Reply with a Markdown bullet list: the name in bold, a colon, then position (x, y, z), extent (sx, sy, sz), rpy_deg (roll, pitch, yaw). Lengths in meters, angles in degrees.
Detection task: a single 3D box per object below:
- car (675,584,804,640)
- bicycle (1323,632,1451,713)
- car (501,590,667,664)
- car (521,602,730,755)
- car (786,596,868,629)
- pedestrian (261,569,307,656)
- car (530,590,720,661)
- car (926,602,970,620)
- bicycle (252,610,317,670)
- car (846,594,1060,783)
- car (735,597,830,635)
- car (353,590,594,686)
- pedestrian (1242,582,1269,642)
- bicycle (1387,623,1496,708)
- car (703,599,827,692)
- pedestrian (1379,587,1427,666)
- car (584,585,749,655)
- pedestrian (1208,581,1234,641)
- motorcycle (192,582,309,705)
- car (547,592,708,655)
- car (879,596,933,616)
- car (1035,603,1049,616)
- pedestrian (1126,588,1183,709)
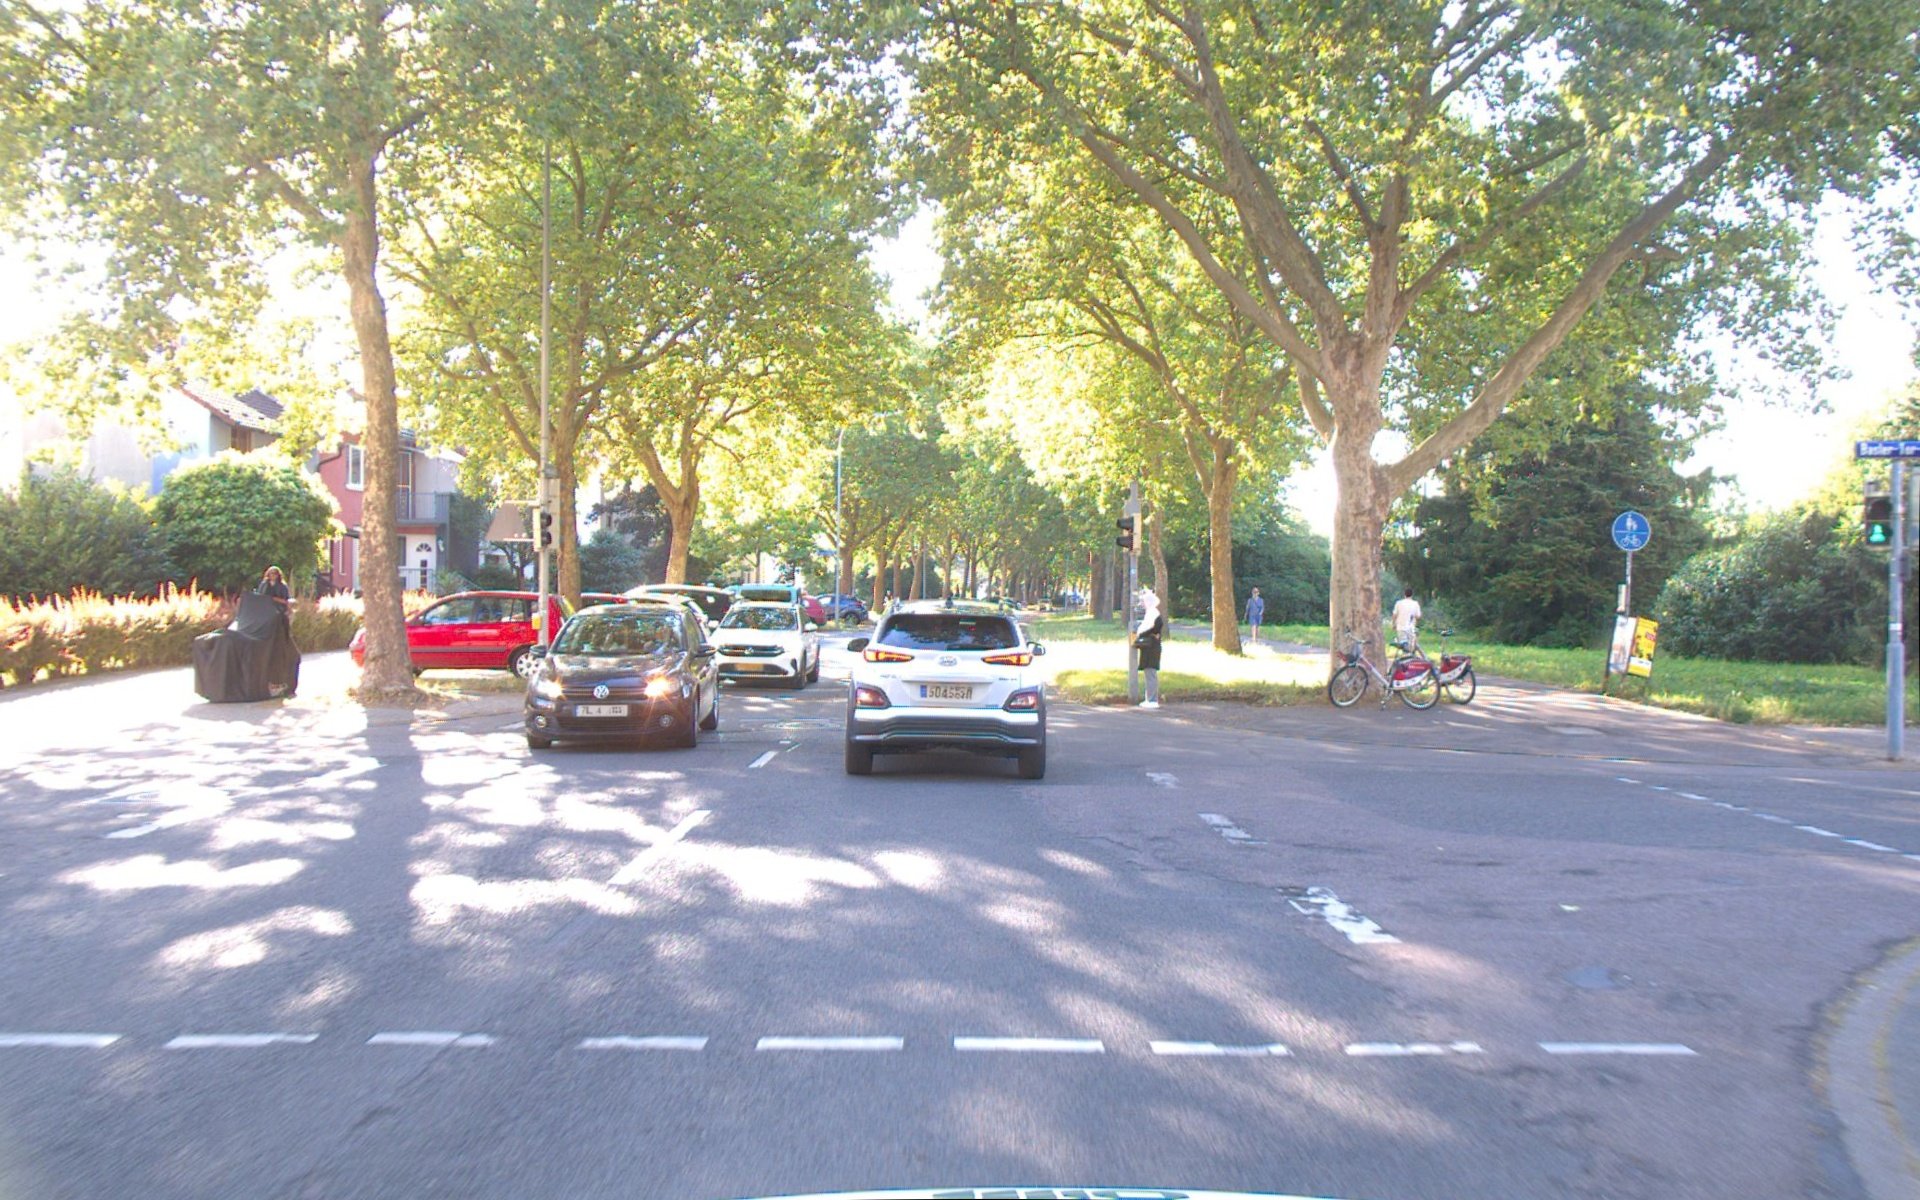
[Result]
- **car**: position (-7.785, 0.427, 58.775), extent (4.296, 1.856, 1.995), rpy_deg (1, 0, -1)
- **bicycle**: position (5.982, 1.002, 23.205), extent (1.685, 1.053, 0.445), rpy_deg (0, 2, 36)
- **car**: position (-8.276, 0.585, 36.631), extent (3.272, 1.506, 1.695), rpy_deg (2, 0, -2)
- **car**: position (-3.554, 0.777, 18.221), extent (1.692, 1.489, 4.065), rpy_deg (0, 0, -3)
- **car**: position (-6.621, 0.637, 82.674), extent (3.907, 1.545, 1.817), rpy_deg (1, 0, -1)
- **pedestrian**: position (-12.265, 0.230, 30.017), extent (0.499, 1.558, 1.032), rpy_deg (0, -1, -6)
- **car**: position (-7.825, 0.579, 38.915), extent (4.077, 1.527, 1.875), rpy_deg (1, 0, -2)
- **car**: position (-1.129, 1.056, 158.338), extent (4.096, 1.612, 2.000), rpy_deg (1, 0, 2)
- **bicycle**: position (-12.276, 0.710, 30.118), extent (0.499, 1.060, 2.150), rpy_deg (0, -1, -6)
- **car**: position (-0.122, 0.769, 15.986), extent (1.798, 1.583, 3.998), rpy_deg (1, 0, -2)
- **car**: position (-7.366, 0.660, 68.812), extent (3.792, 1.545, 1.665), rpy_deg (0, 0, -1)
- **car**: position (-8.472, 0.643, 29.062), extent (3.689, 1.561, 1.831), rpy_deg (1, 0, -2)
- **pedestrian**: position (9.328, 0.377, 52.215), extent (0.739, 1.880, 0.803), rpy_deg (0, 0, 4)
- **bicycle**: position (7.004, 0.937, 24.157), extent (0.438, 1.101, 1.996), rpy_deg (-2, 2, -20)
- **car**: position (-3.442, 0.765, 29.913), extent (1.681, 1.527, 4.094), rpy_deg (1, 0, 1)
- **pedestrian**: position (9.479, 0.558, 35.424), extent (0.763, 1.678, 0.938), rpy_deg (0, 0, 0)
- **car**: position (-7.730, 0.522, 43.864), extent (4.008, 1.746, 1.831), rpy_deg (1, 0, 0)
- **pedestrian**: position (8.265, 0.346, 52.369), extent (0.745, 1.878, 0.788), rpy_deg (0, 0, 4)
- **motorcycle**: position (-10.377, 0.599, 24.293), extent (0.961, 1.666, 2.386), rpy_deg (0, 2, -7)
- **car**: position (-8.358, 0.576, 41.770), extent (3.681, 1.509, 1.754), rpy_deg (1, 0, 0)
- **car**: position (-3.956, 0.429, 121.005), extent (3.745, 1.339, 1.791), rpy_deg (2, 0, 3)
- **car**: position (9.813, 1.124, 198.692), extent (1.654, 1.490, 3.695), rpy_deg (1, -1, 3)
- **pedestrian**: position (2.906, 0.710, 24.735), extent (0.622, 1.749, 0.824), rpy_deg (-2, 0, -8)
